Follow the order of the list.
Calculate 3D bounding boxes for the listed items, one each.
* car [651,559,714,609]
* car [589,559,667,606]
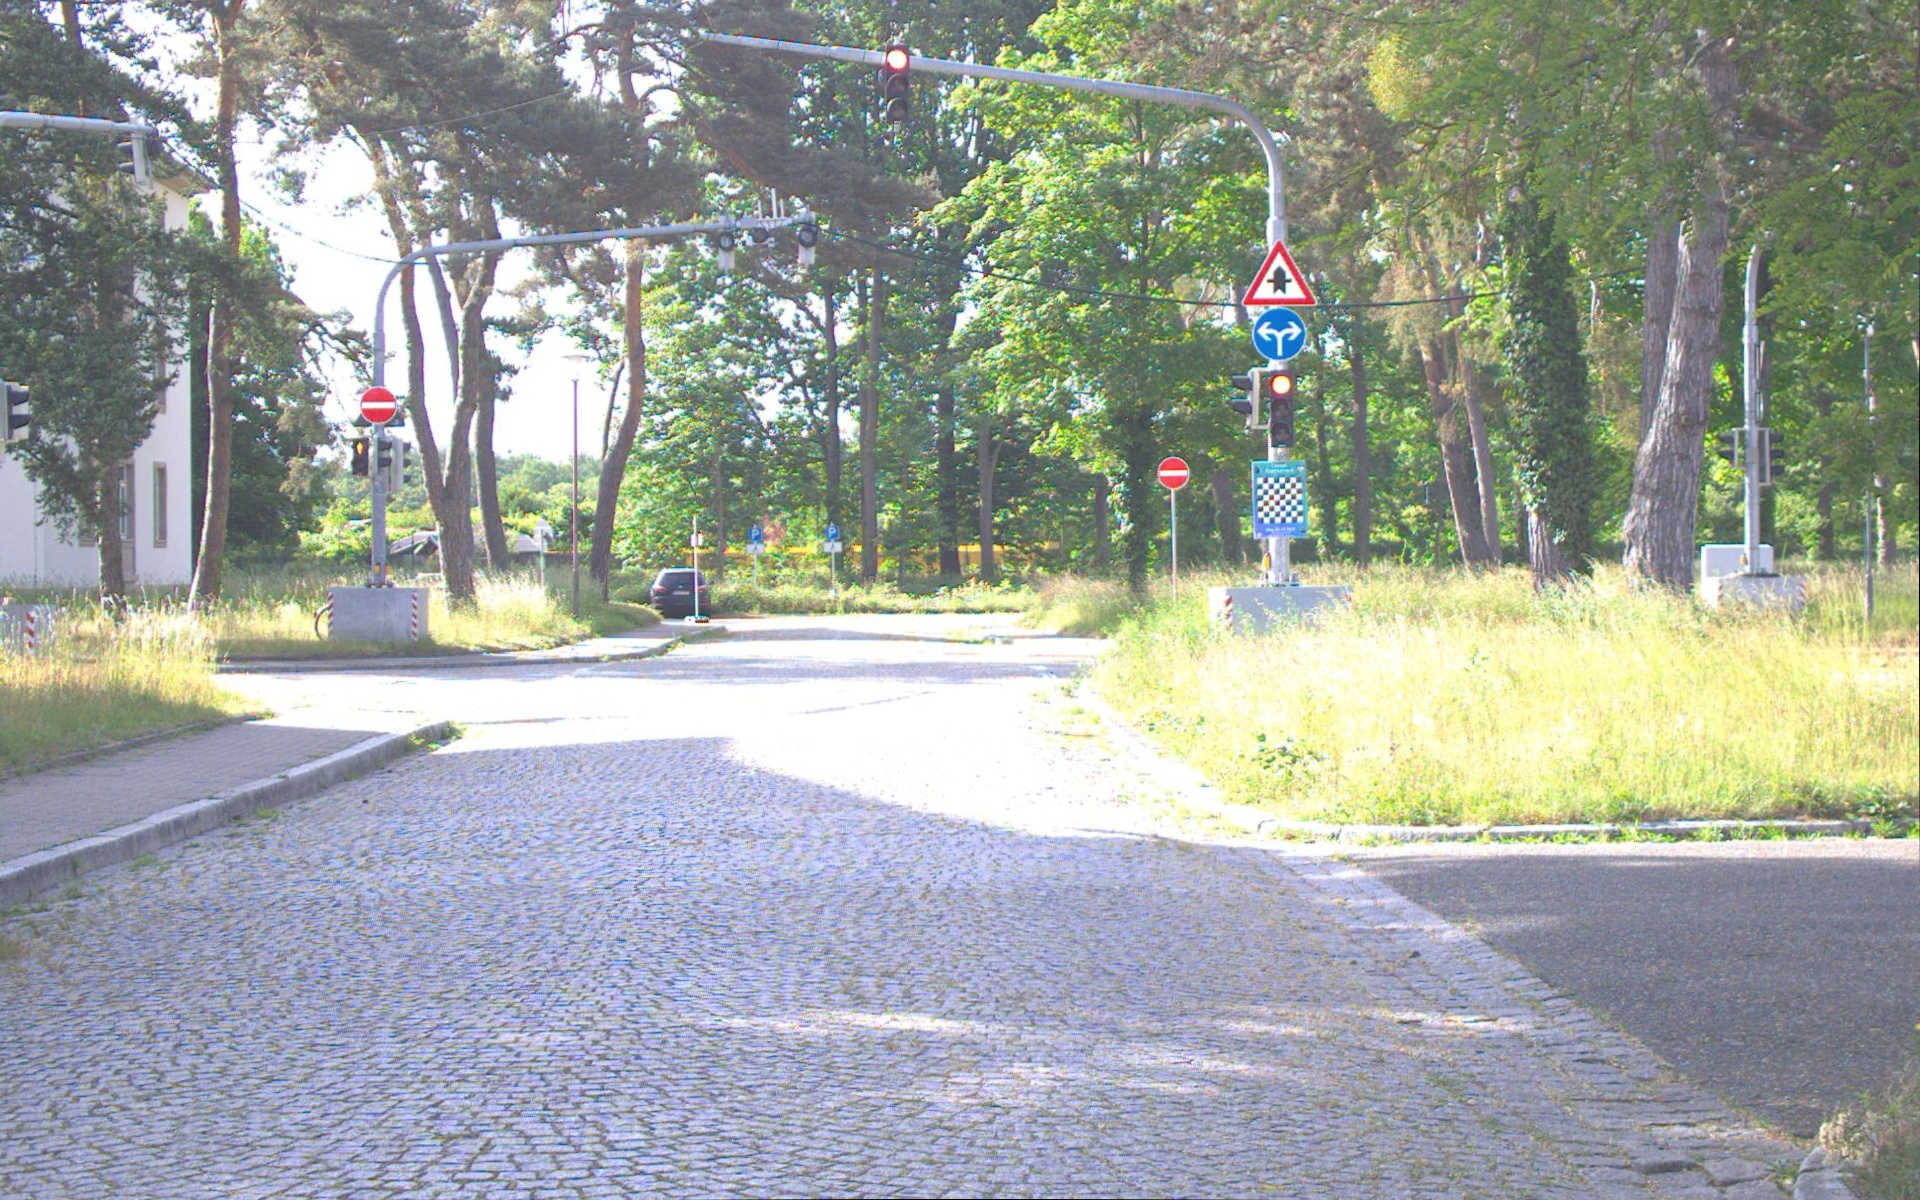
[{"bbox_3d":[-8.531,-0.510,105.949,1.844,1.481,4.001,0,1,-4],"label":"car"},{"bbox_3d":[-10.661,-0.578,110.677,1.783,1.485,3.754,0,1,6],"label":"car"}]
